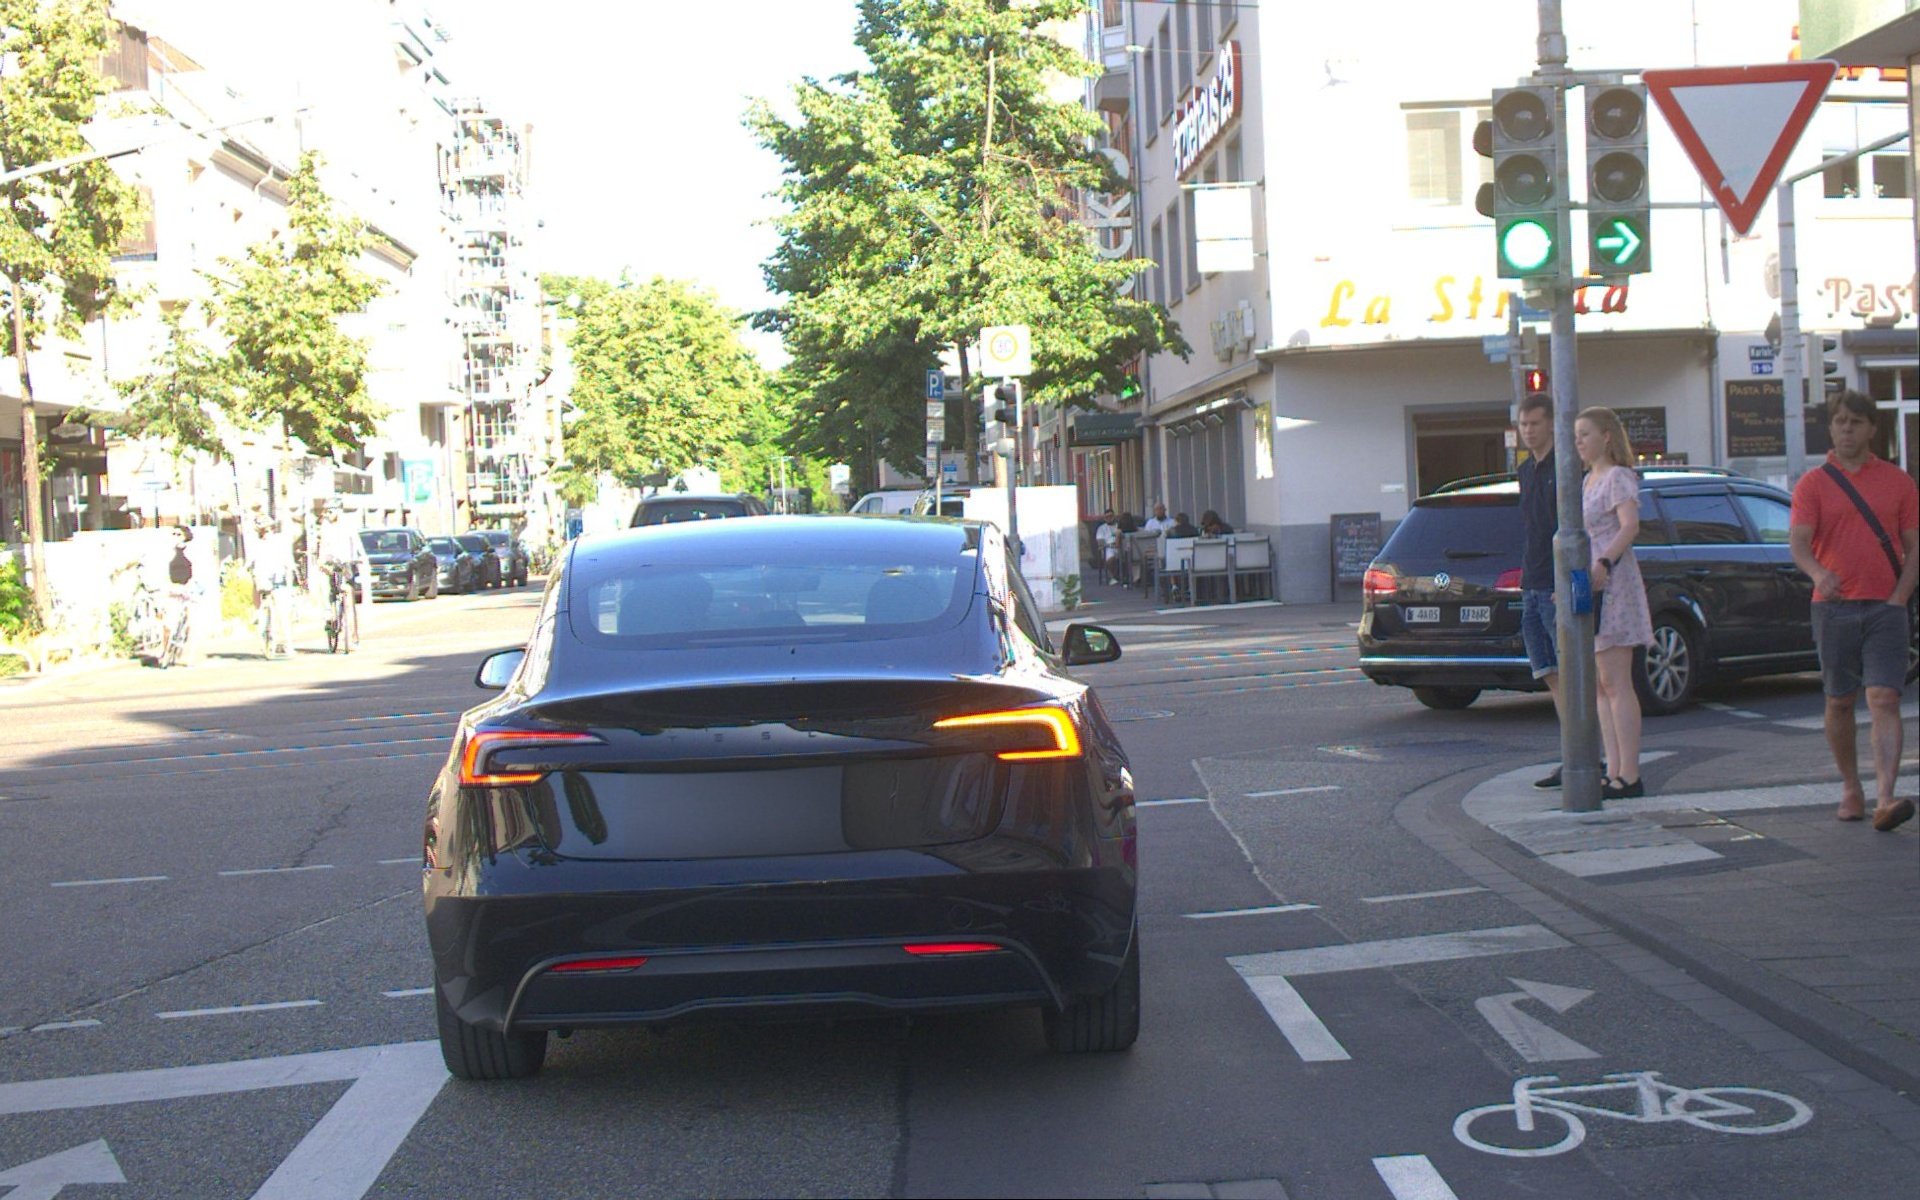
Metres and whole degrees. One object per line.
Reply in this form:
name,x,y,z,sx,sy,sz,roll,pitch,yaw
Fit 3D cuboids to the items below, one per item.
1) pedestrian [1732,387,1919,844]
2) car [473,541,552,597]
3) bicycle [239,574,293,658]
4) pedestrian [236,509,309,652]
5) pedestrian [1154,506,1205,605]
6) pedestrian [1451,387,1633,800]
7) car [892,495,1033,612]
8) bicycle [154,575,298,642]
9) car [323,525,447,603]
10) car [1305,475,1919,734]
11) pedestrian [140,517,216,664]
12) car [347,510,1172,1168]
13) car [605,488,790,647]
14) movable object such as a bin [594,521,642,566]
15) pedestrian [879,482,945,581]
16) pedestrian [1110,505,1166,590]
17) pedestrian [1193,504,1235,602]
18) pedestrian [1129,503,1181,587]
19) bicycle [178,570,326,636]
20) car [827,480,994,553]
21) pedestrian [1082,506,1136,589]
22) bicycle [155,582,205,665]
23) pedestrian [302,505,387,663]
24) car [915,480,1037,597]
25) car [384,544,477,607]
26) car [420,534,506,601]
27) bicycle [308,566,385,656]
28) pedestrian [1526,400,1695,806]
pedestrian,3.506,0.043,13.429,0.690,1.697,0.912,-3,1,0
car,-12.065,-0.866,92.878,1.786,1.397,3.907,-2,1,-3
bicycle,-8.469,0.180,41.920,0.552,0.965,1.795,-3,1,-13
pedestrian,-8.410,-0.244,42.051,0.778,1.722,0.559,-2,1,-16
pedestrian,2.970,-0.607,46.575,0.586,1.308,0.560,-3,1,-1
pedestrian,2.670,-0.036,15.825,0.640,1.835,0.682,-2,1,-1
car,-0.008,-0.728,52.207,2.001,1.630,4.289,-2,2,-1
bicycle,-11.834,0.133,55.435,2.219,0.955,0.656,-3,1,-13
car,-12.537,-0.814,75.201,1.993,1.592,4.000,-2,1,0
car,4.281,-0.026,21.466,4.343,1.414,1.766,-3,2,-43
pedestrian,-9.300,-0.117,40.869,0.790,1.706,0.654,-2,1,-16
car,-0.478,0.505,10.225,1.869,1.422,4.365,-2,2,0
car,-3.062,-0.425,40.883,1.904,1.727,4.289,-2,2,-1
movable object such as a bin,-11.291,-1.865,113.439,1.308,1.403,1.071,-3,1,-18
pedestrian,-0.949,-1.379,68.653,0.958,1.909,1.104,-2,1,15
pedestrian,2.903,-0.861,56.070,0.730,1.342,1.060,-3,1,-3
pedestrian,3.504,-0.650,47.362,0.488,1.317,0.653,-3,1,6
pedestrian,3.253,-0.915,57.344,0.730,1.355,0.959,-3,1,-1
bicycle,-12.004,0.042,58.316,2.396,1.002,0.656,-3,1,-12
car,-1.673,-2.758,113.896,5.391,2.138,2.000,-3,1,-2
pedestrian,2.475,-0.874,57.173,0.709,1.342,1.060,-3,1,-4
bicycle,-9.353,0.275,41.222,0.480,0.952,1.456,-3,1,-15
pedestrian,-7.540,-0.205,42.078,0.778,1.860,1.002,-5,2,-15
car,0.241,-1.065,58.634,1.904,1.845,4.289,-2,2,-1
car,-12.744,-0.598,82.925,1.786,1.397,3.907,-2,1,-3
car,-12.698,-0.850,88.015,1.718,1.604,3.598,-3,1,-2
bicycle,-7.515,0.118,42.040,0.758,1.004,1.726,-6,2,-13
pedestrian,2.886,0.006,15.285,0.572,1.753,0.649,-2,1,-1
